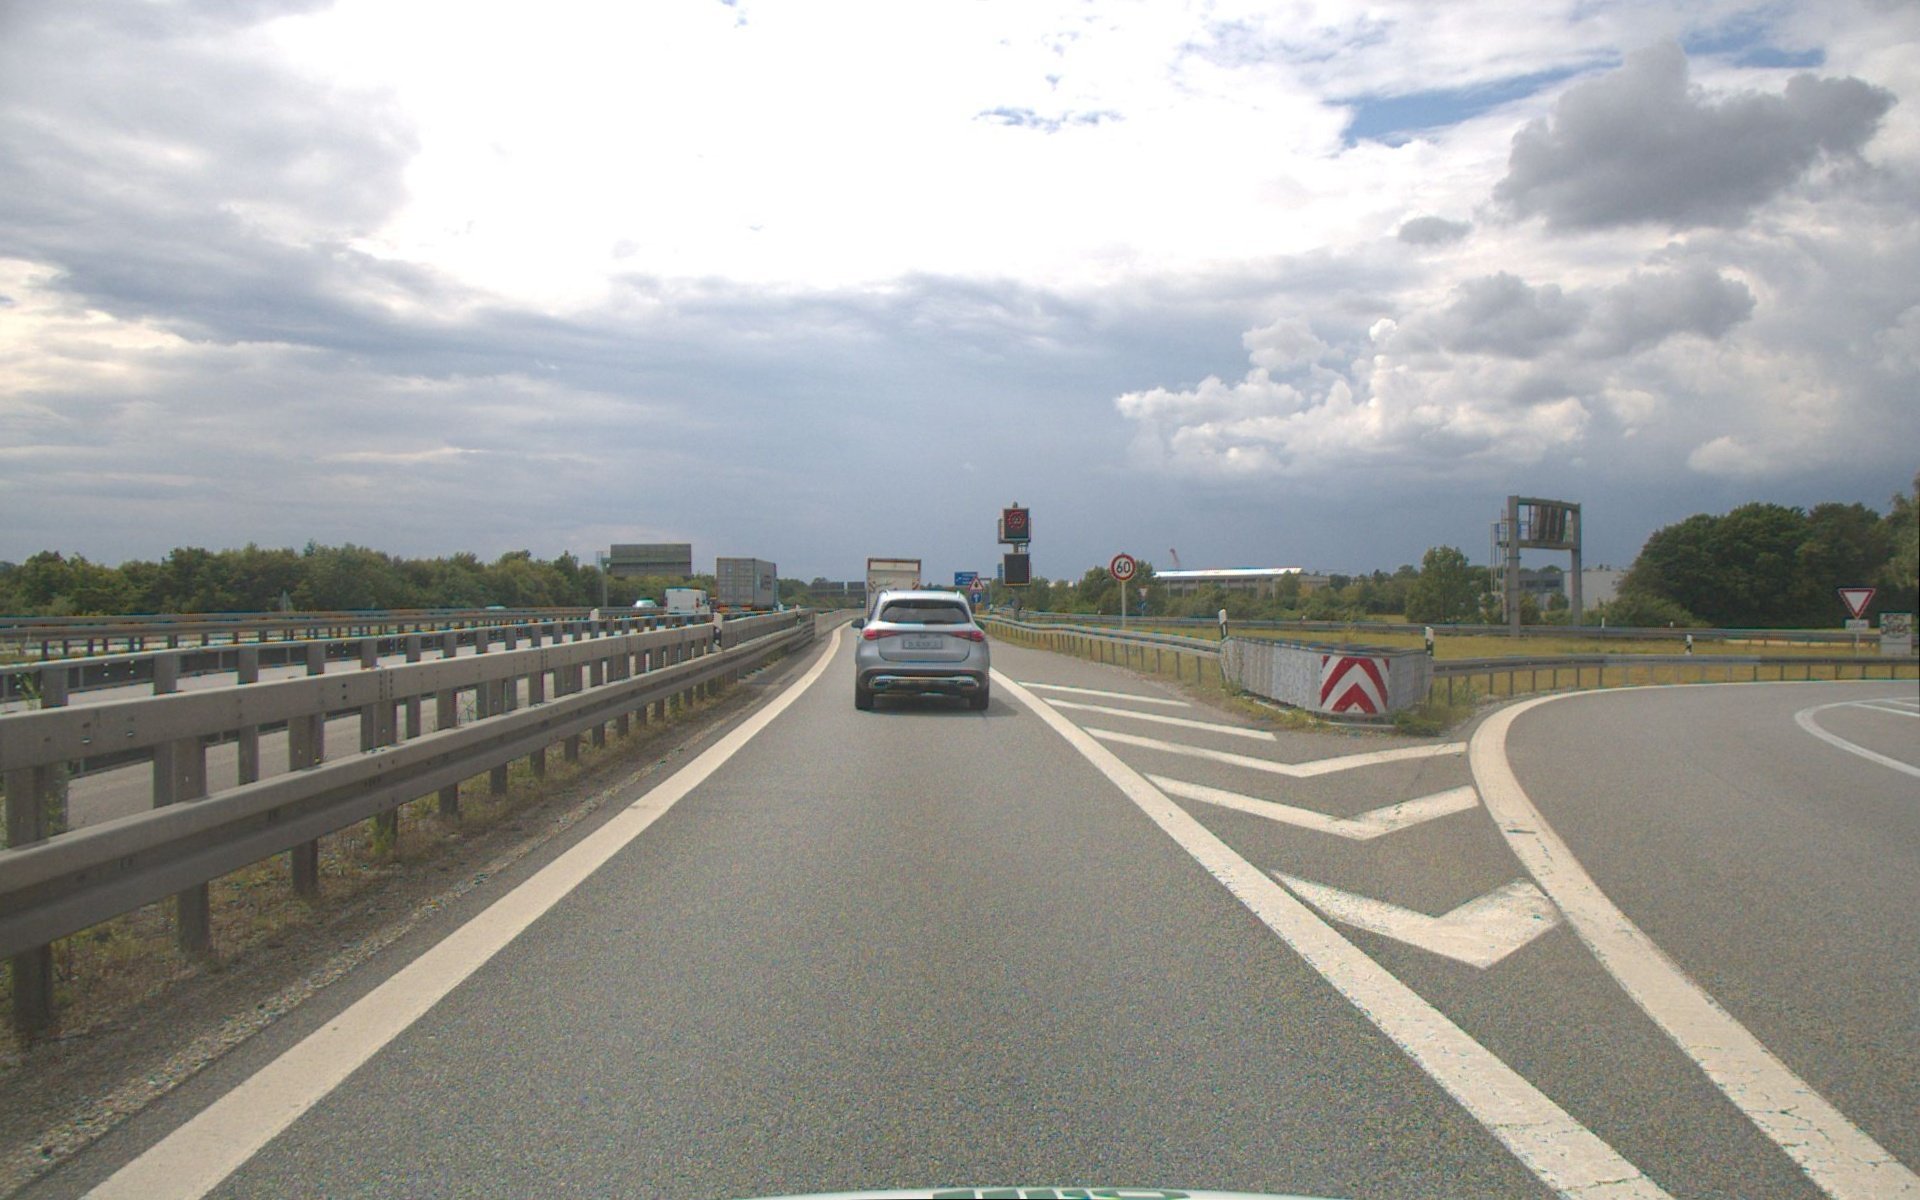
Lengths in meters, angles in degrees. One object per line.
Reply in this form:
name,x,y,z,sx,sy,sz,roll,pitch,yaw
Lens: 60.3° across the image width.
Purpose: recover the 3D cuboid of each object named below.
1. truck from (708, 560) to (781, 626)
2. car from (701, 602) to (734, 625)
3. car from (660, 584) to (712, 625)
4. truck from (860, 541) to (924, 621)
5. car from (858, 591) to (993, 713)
truck,-14.217,-0.559,110.531,3.119,4.089,16.072,1,1,-1
car,-18.285,1.019,125.082,1.842,1.573,4.614,1,1,-1
car,-14.353,0.193,86.853,1.953,2.049,4.374,1,1,0
truck,-2.866,-0.721,70.681,2.517,3.181,8.630,1,0,-2
car,-0.462,0.681,23.988,1.782,1.541,4.000,1,1,0
